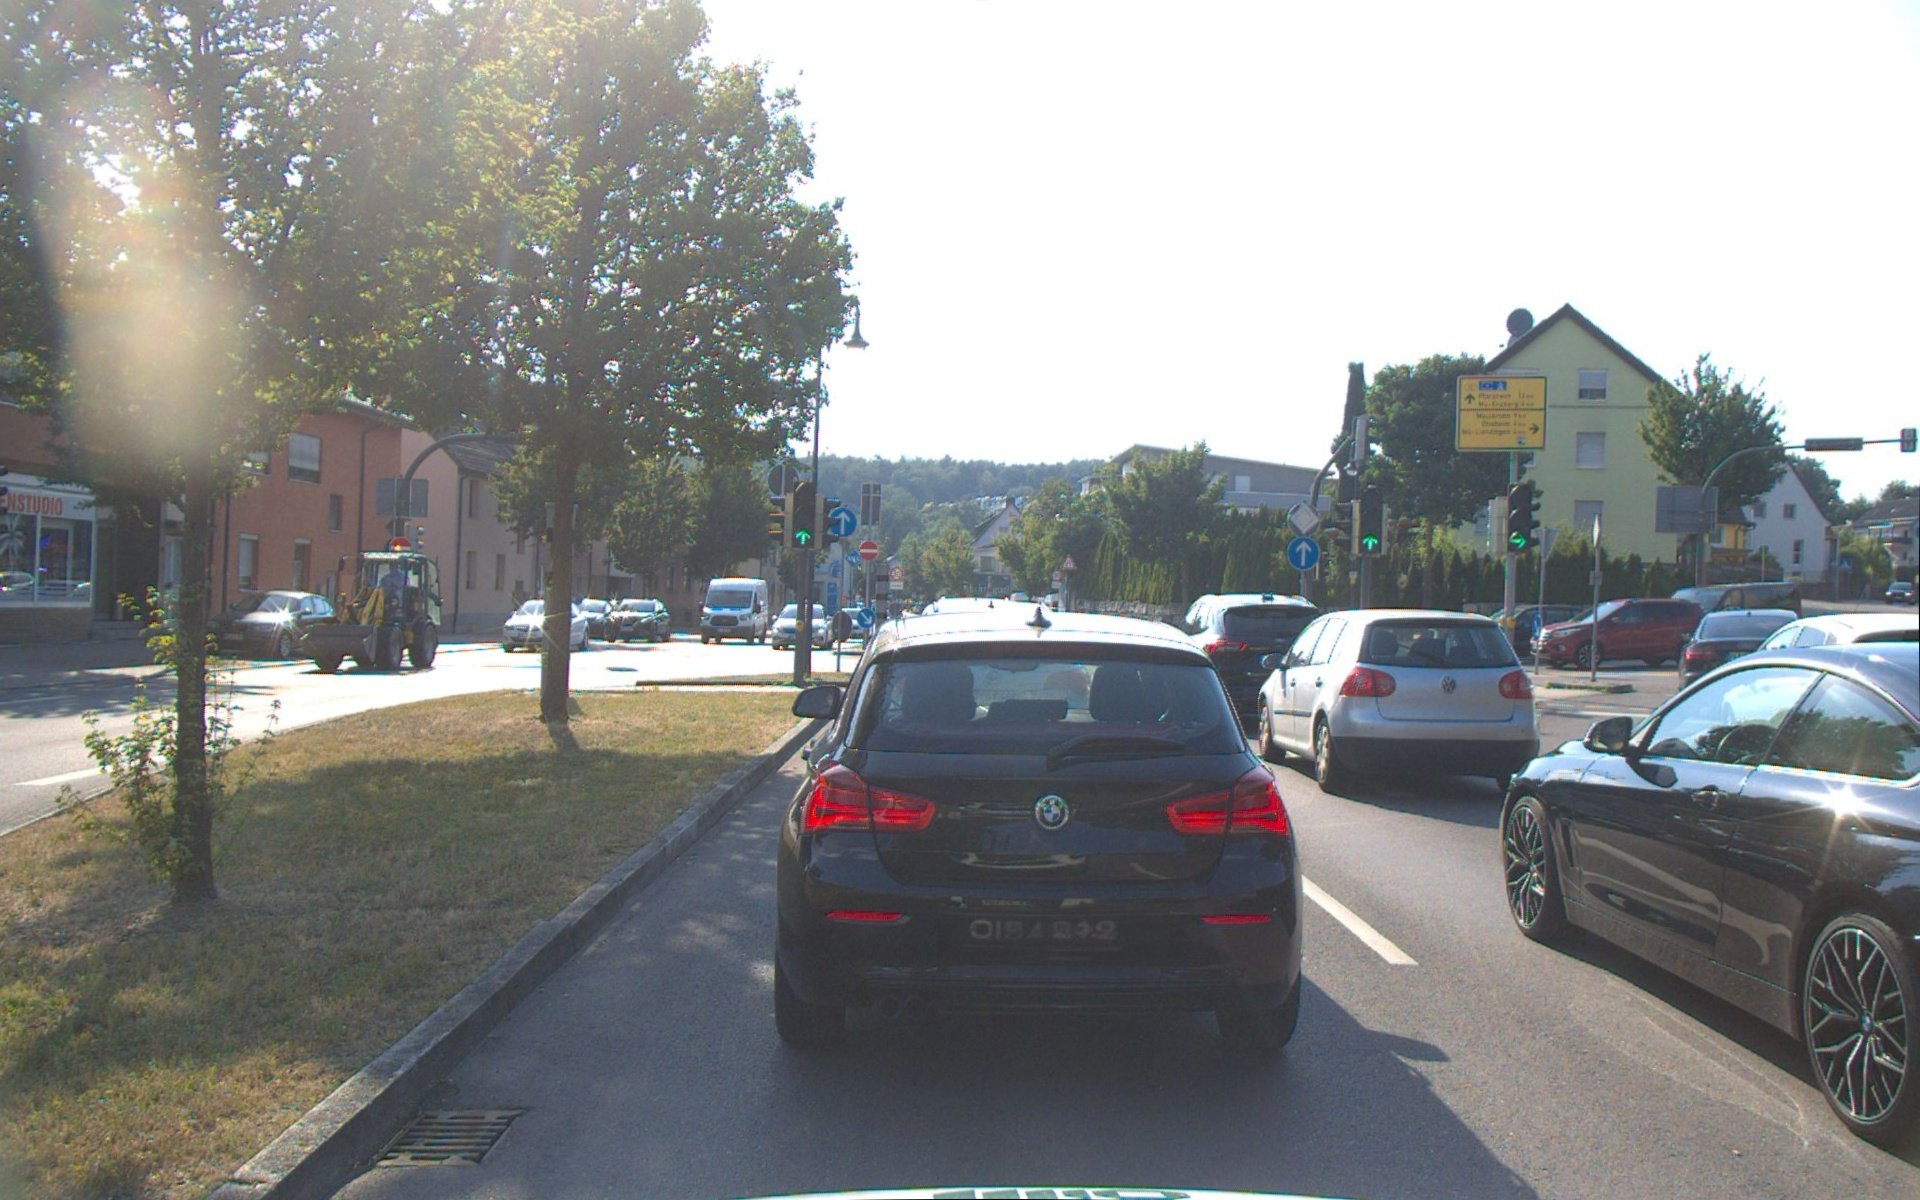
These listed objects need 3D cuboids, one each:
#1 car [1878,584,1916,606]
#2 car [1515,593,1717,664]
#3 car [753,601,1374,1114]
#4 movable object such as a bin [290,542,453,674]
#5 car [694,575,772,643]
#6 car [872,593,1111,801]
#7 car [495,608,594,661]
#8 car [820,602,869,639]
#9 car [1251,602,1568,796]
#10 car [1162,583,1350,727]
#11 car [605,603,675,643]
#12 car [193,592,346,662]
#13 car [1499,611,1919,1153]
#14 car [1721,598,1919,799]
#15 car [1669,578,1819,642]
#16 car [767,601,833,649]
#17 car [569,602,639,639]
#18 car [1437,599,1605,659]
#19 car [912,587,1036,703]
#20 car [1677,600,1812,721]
[{"bbox_3d":[72.427,-0.400,127.821,1.934,1.709,4.195,0,0,38],"label":"car"},{"bbox_3d":[16.320,0.688,41.256,4.333,1.670,1.845,1,0,-8],"label":"car"},{"bbox_3d":[0.292,0.731,6.839,1.751,1.422,4.280,-1,0,0],"label":"car"},{"bbox_3d":[-11.851,0.155,33.601,1.701,2.485,4.449,0,0,0],"label":"movable object such as a bin"},{"bbox_3d":[-8.639,0.336,63.470,2.041,2.435,5.529,1,0,1],"label":"car"},{"bbox_3d":[0.232,0.711,14.353,1.751,1.520,4.280,-1,0,0],"label":"car"},{"bbox_3d":[-12.033,0.969,48.117,1.701,1.323,3.800,5,0,2],"label":"car"},{"bbox_3d":[-4.872,0.843,70.262,1.801,1.508,4.000,1,0,0],"label":"car"},{"bbox_3d":[3.787,0.761,14.609,1.725,1.451,3.902,-1,0,0],"label":"car"},{"bbox_3d":[3.738,0.641,21.490,1.725,1.685,3.902,-1,0,0],"label":"car"},{"bbox_3d":[-12.185,0.869,63.222,1.701,1.323,3.800,5,0,2],"label":"car"},{"bbox_3d":[-15.477,0.573,37.292,1.702,1.323,3.999,5,0,-1],"label":"car"},{"bbox_3d":[3.467,0.781,5.819,1.725,1.422,4.280,-1,0,0],"label":"car"},{"bbox_3d":[8.121,0.775,14.657,1.583,1.569,3.320,-1,0,8],"label":"car"},{"bbox_3d":[22.618,0.299,47.636,4.729,1.770,1.826,1,0,-35],"label":"car"},{"bbox_3d":[-5.312,0.804,55.408,1.801,1.508,4.000,1,0,0],"label":"car"},{"bbox_3d":[-14.475,0.809,67.464,1.701,1.323,4.001,5,0,3],"label":"car"},{"bbox_3d":[15.164,0.762,44.835,3.907,1.515,1.847,1,0,-3],"label":"car"},{"bbox_3d":[0.194,0.632,25.556,1.751,1.622,4.280,-1,0,0],"label":"car"},{"bbox_3d":[11.431,0.811,24.252,1.623,1.569,4.396,-1,0,24],"label":"car"}]
